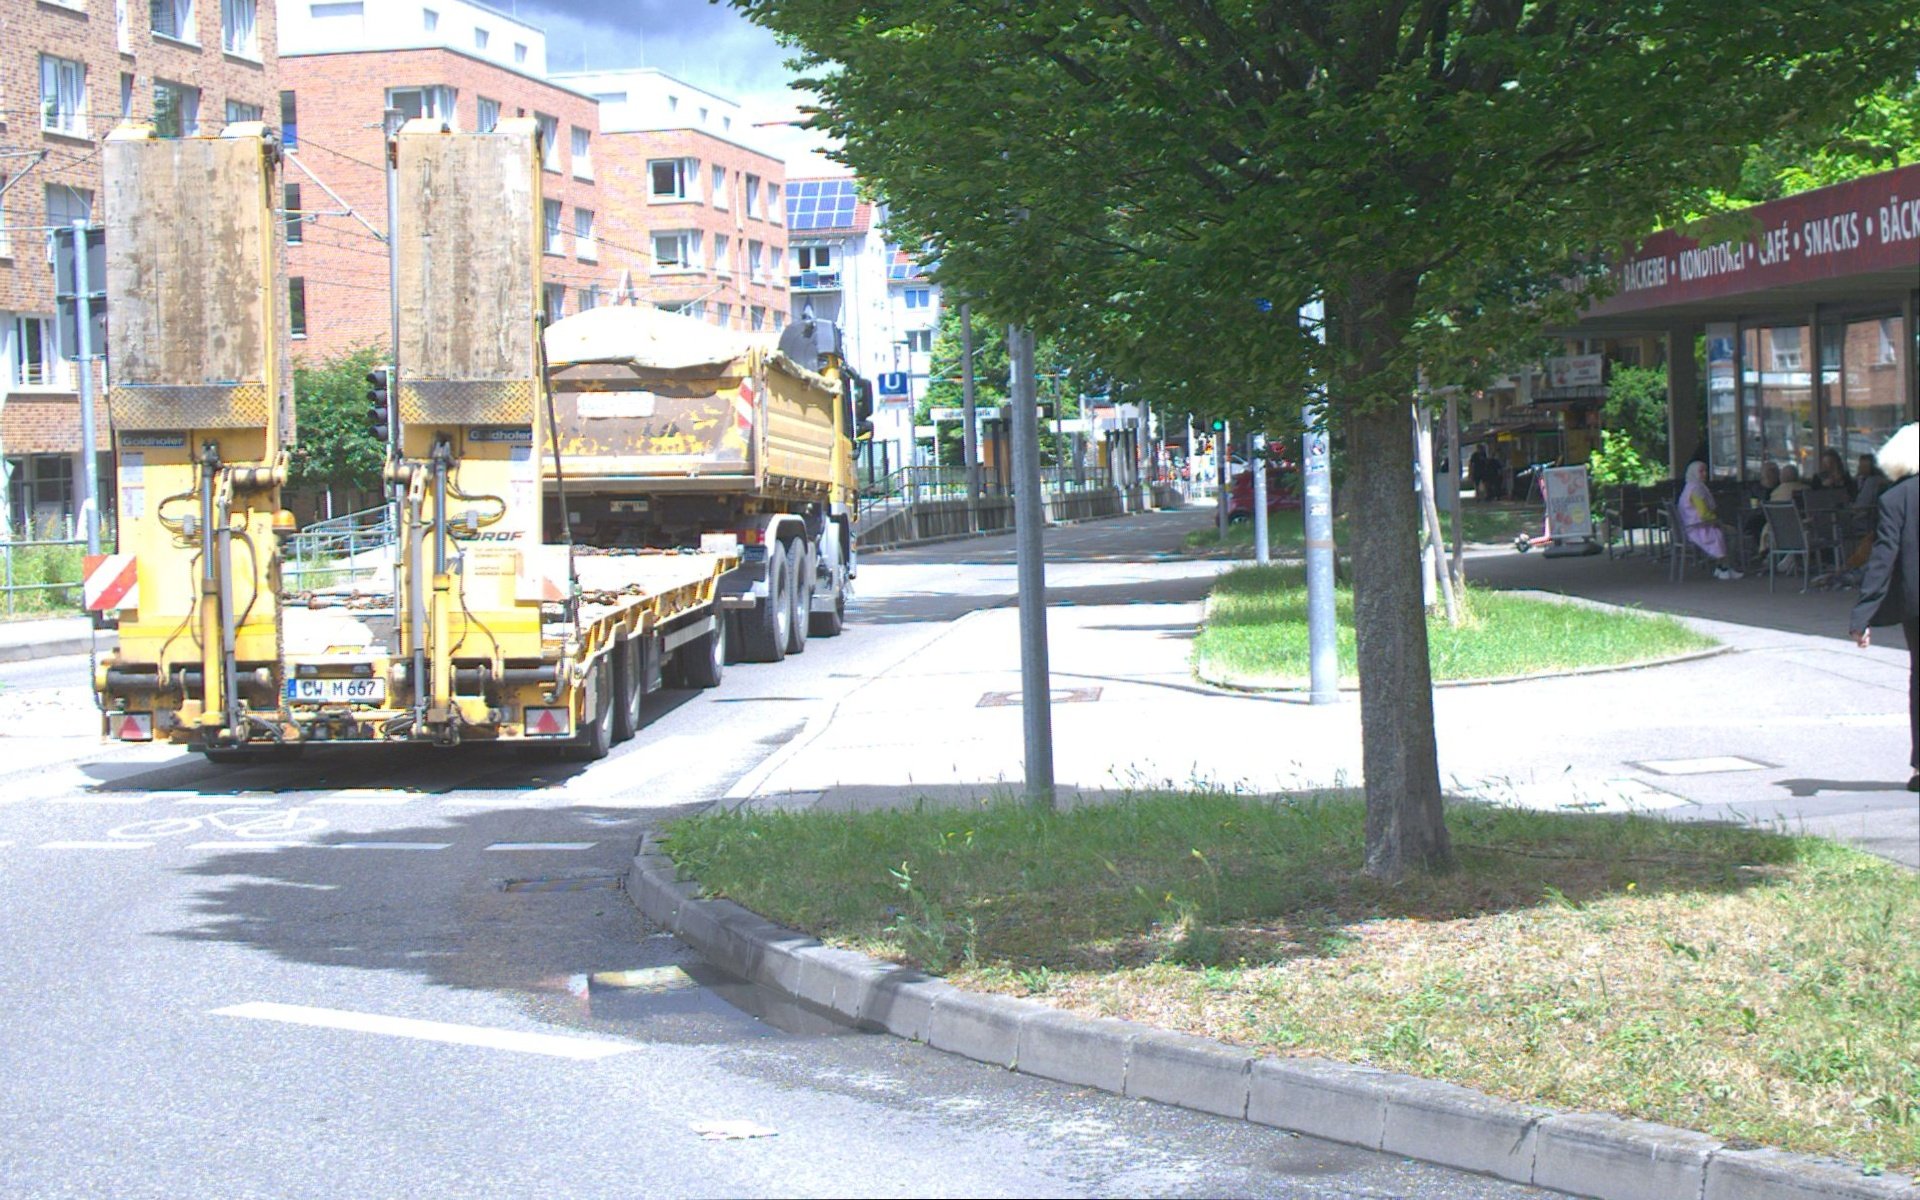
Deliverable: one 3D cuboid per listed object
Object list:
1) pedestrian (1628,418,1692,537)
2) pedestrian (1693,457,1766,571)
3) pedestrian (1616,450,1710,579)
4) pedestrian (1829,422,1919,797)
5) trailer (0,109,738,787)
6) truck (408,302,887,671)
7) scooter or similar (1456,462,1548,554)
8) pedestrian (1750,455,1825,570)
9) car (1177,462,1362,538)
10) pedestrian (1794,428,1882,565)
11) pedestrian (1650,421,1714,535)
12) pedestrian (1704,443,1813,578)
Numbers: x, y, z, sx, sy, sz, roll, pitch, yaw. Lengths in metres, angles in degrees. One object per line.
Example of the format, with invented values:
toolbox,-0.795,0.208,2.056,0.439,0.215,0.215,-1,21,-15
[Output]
pedestrian,9.486,-1.659,46.610,0.696,1.568,0.557,-3,2,2
pedestrian,8.344,-0.941,37.301,0.718,1.197,0.698,-2,2,11
pedestrian,7.477,-0.913,36.580,0.878,1.320,0.611,-2,2,6
pedestrian,4.141,0.016,14.294,0.872,1.514,0.804,-2,2,5
trailer,-3.486,-0.942,22.971,2.864,3.360,10.841,-2,2,2
truck,-2.716,-1.218,33.058,2.988,3.024,8.486,-1,4,5
scooter or similar,7.873,-1.342,49.881,0.519,1.222,1.728,0,4,37
pedestrian,8.924,-0.951,37.087,0.718,1.197,0.698,-2,2,11
car,7.018,-2.274,77.787,3.988,1.506,2.000,-1,5,10
pedestrian,9.125,-1.077,35.750,0.718,1.376,0.699,-3,2,5
pedestrian,9.670,-1.637,46.051,0.696,1.483,0.557,-3,2,2
pedestrian,8.277,-0.935,35.671,0.877,1.320,0.823,-3,5,-2
